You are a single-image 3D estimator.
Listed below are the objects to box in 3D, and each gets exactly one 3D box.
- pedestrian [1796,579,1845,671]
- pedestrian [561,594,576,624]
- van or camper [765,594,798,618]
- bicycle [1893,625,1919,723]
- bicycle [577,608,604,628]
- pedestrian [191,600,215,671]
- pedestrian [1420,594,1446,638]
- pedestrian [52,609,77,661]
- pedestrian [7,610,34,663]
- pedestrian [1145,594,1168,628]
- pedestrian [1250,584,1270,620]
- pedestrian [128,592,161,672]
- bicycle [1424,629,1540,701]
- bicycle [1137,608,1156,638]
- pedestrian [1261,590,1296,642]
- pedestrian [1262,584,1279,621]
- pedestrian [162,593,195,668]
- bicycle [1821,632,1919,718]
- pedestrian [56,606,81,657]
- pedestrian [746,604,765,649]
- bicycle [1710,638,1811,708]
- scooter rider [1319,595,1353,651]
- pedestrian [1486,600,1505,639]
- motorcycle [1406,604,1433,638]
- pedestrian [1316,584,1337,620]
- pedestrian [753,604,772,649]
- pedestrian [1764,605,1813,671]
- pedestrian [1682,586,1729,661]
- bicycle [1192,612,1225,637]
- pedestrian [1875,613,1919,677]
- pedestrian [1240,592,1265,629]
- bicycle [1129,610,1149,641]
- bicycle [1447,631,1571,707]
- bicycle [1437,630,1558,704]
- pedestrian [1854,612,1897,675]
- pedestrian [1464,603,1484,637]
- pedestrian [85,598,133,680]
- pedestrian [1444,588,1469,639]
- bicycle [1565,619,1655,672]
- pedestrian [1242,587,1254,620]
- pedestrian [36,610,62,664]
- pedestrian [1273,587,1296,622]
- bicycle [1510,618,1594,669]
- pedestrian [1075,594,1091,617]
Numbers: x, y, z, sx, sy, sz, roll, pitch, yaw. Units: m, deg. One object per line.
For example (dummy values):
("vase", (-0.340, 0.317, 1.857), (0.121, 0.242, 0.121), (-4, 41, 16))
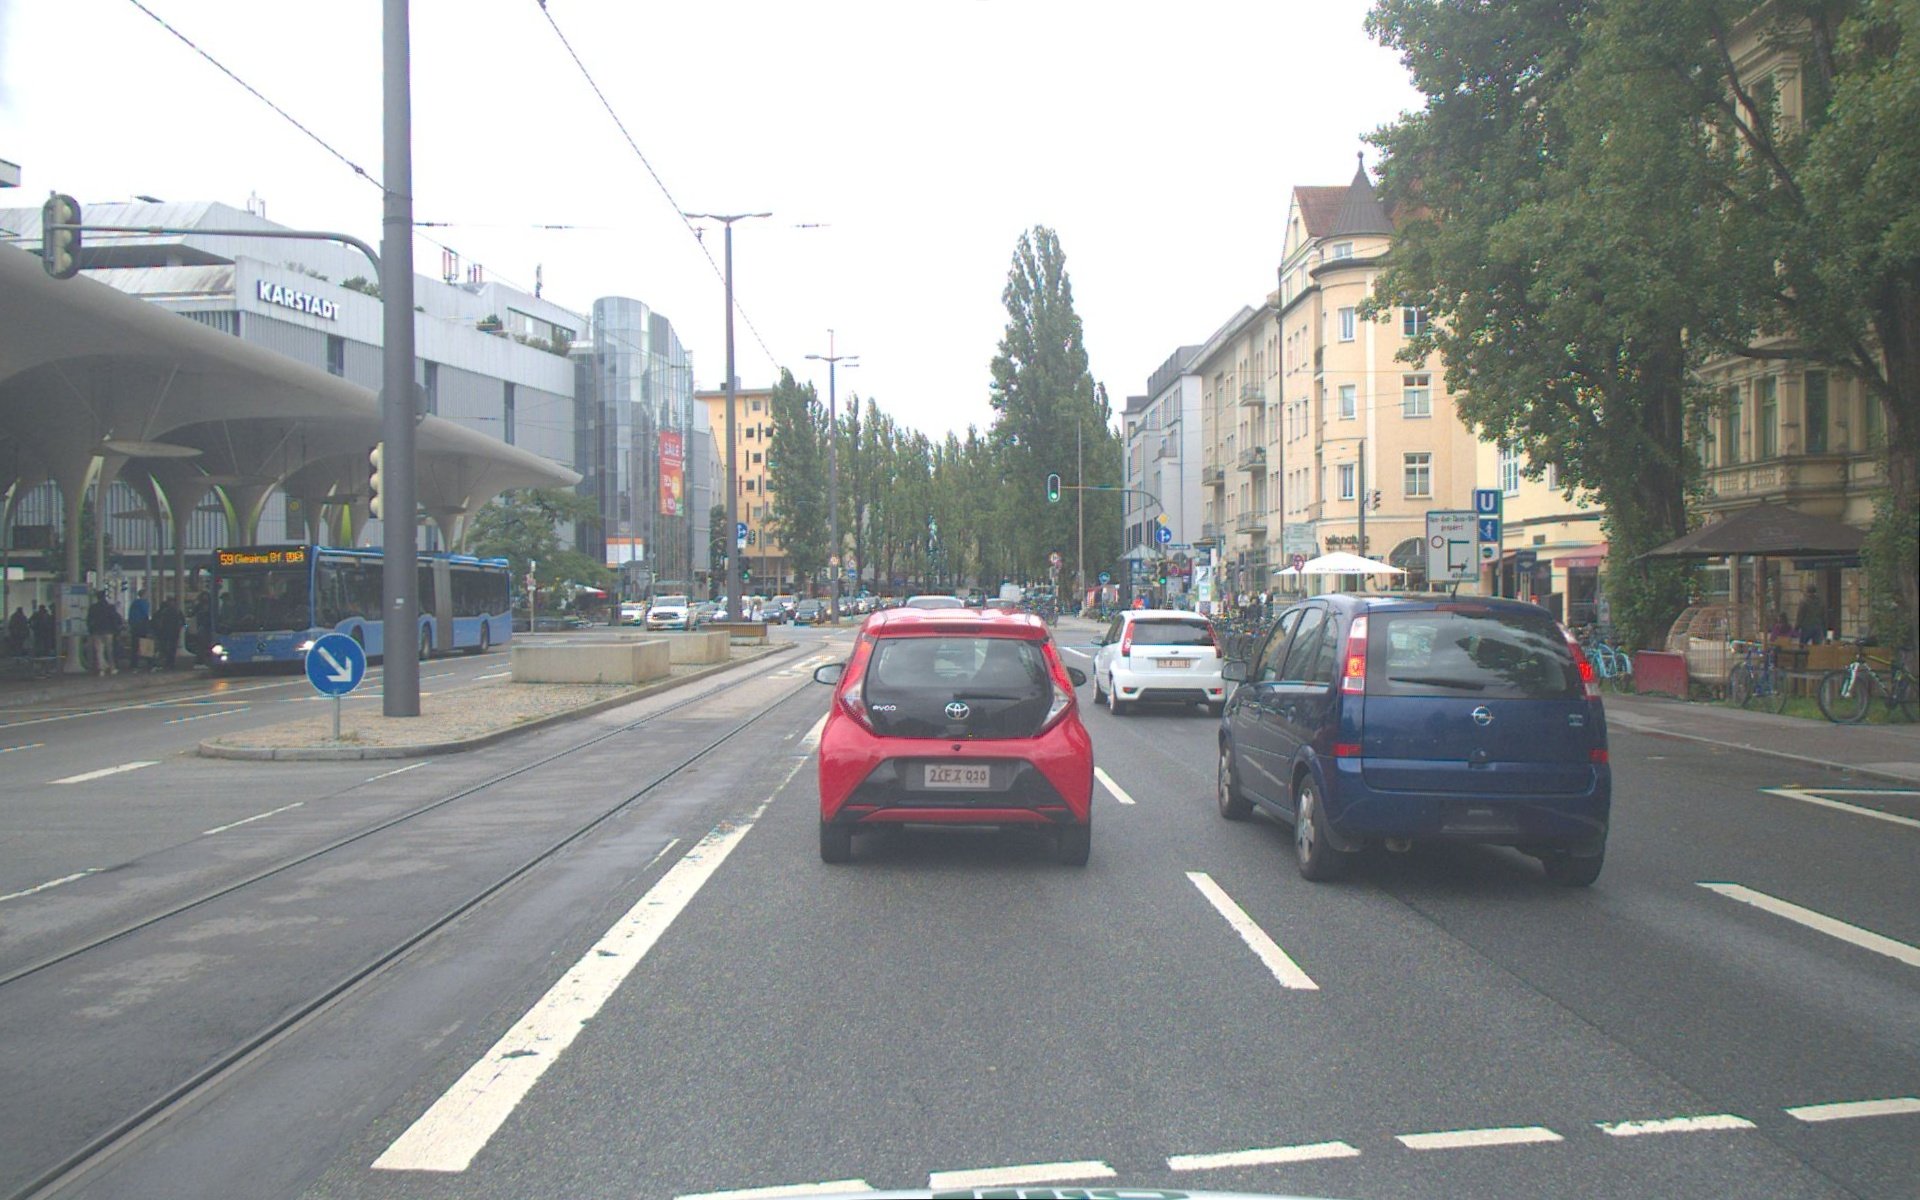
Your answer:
("pedestrian", (16.668, 0.476, 32.037), (0.588, 1.770, 0.666), (0, 0, -1))
("pedestrian", (-23.840, 0.534, 100.669), (0.739, 1.804, 0.767), (-1, 0, -24))
("van or camper", (-14.176, 0.458, 131.433), (1.888, 1.858, 5.441), (-1, 0, 1))
("bicycle", (12.632, 0.902, 20.443), (1.848, 1.194, 0.582), (0, 0, 1))
("bicycle", (-21.790, 1.069, 97.502), (1.541, 1.131, 0.373), (0, 0, 3))
("pedestrian", (-17.505, 0.822, 38.265), (0.385, 1.633, 0.390), (0, 0, -6))
("pedestrian", (15.570, 0.525, 54.460), (0.662, 1.447, 0.616), (0, 0, -1))
("pedestrian", (-28.817, 1.126, 53.242), (0.562, 1.639, 0.546), (0, 0, -10))
("pedestrian", (-29.127, 1.119, 51.298), (0.562, 1.639, 0.546), (0, 0, -10))
("pedestrian", (9.854, 0.548, 82.878), (0.820, 1.720, 0.816), (-1, 0, 37))
("pedestrian", (15.127, 0.106, 83.361), (0.637, 1.734, 0.726), (-3, 3, -30))
("pedestrian", (-18.202, 0.707, 36.934), (0.556, 1.774, 0.752), (-1, 0, -20))
("bicycle", (8.120, 0.998, 25.785), (0.372, 1.013, 1.816), (-1, 2, -39))
("bicycle", (8.619, 1.056, 76.573), (0.601, 1.287, 2.519), (-1, 0, 0))
("pedestrian", (10.973, 0.545, 57.049), (0.867, 1.773, 0.854), (0, 0, -17))
("pedestrian", (15.506, 0.111, 82.613), (0.636, 1.782, 0.636), (-1, 3, -6))
("pedestrian", (-18.597, 0.725, 39.355), (0.494, 1.764, 0.572), (-1, 0, -1))
("bicycle", (12.132, 0.955, 21.282), (1.848, 1.072, 0.458), (0, 0, 1))
("pedestrian", (-29.296, 1.033, 54.362), (0.562, 1.639, 0.580), (0, 0, -10))
("pedestrian", (-7.537, 0.967, 60.993), (0.482, 1.647, 0.551), (0, 0, -35))
("bicycle", (11.314, 1.015, 23.441), (0.447, 0.907, 1.893), (0, 0, -2))
("scooter rider", (9.719, 0.593, 42.749), (0.686, 1.413, 0.643), (-1, 0, -3))
("pedestrian", (18.685, 0.679, 57.743), (0.468, 1.322, 0.527), (0, 0, -2))
("motorcycle", (16.322, 0.744, 58.772), (0.476, 1.176, 1.571), (0, 0, 0))
("pedestrian", (17.995, 0.108, 81.138), (0.738, 1.714, 0.674), (-3, 4, -34))
("pedestrian", (-7.253, 0.974, 60.714), (0.513, 1.647, 0.461), (-1, 0, 43))
("pedestrian", (16.062, 0.729, 32.072), (0.588, 1.243, 0.666), (0, 0, -1))
("pedestrian", (16.825, 0.531, 37.326), (0.696, 1.661, 0.786), (0, 0, -1))
("bicycle", (12.154, 1.191, 80.885), (1.536, 1.180, 0.525), (-1, 2, 2))
("pedestrian", (19.290, 0.919, 34.045), (0.571, 1.303, 0.583), (0, 0, -2))
("pedestrian", (12.378, 0.442, 70.093), (0.717, 1.567, 0.887), (-1, 0, -15))
("bicycle", (7.774, 1.109, 72.006), (0.601, 1.287, 2.519), (-1, 0, 0))
("bicycle", (8.070, 0.998, 24.379), (0.372, 1.013, 1.816), (-1, 2, -39))
("bicycle", (8.108, 0.998, 25.021), (0.372, 1.013, 1.816), (-1, 2, -39))
("pedestrian", (19.297, 0.918, 34.884), (0.571, 1.303, 0.583), (0, 0, -2))
("pedestrian", (18.555, 0.708, 59.708), (0.504, 1.202, 0.703), (0, 0, -2))
("pedestrian", (-18.485, 0.831, 35.947), (0.701, 1.752, 0.879), (0, 0, -11))
("pedestrian", (16.124, 0.436, 53.730), (0.602, 1.661, 0.677), (0, 0, -1))
("bicycle", (13.513, 0.946, 34.387), (1.685, 1.064, 0.388), (1, 1, 10))
("pedestrian", (14.552, 0.179, 83.562), (0.548, 1.637, 0.568), (0, 3, 12))
("pedestrian", (-28.312, 1.144, 51.417), (0.562, 1.639, 0.546), (0, 0, -10))
("pedestrian", (16.443, 0.224, 83.803), (0.914, 1.786, 1.065), (-1, 0, 0))
("bicycle", (12.604, 0.918, 35.228), (1.690, 1.064, 0.387), (0, 1, -7))
("pedestrian", (8.343, 0.398, 112.194), (0.794, 1.549, 0.798), (0, 0, -43))
